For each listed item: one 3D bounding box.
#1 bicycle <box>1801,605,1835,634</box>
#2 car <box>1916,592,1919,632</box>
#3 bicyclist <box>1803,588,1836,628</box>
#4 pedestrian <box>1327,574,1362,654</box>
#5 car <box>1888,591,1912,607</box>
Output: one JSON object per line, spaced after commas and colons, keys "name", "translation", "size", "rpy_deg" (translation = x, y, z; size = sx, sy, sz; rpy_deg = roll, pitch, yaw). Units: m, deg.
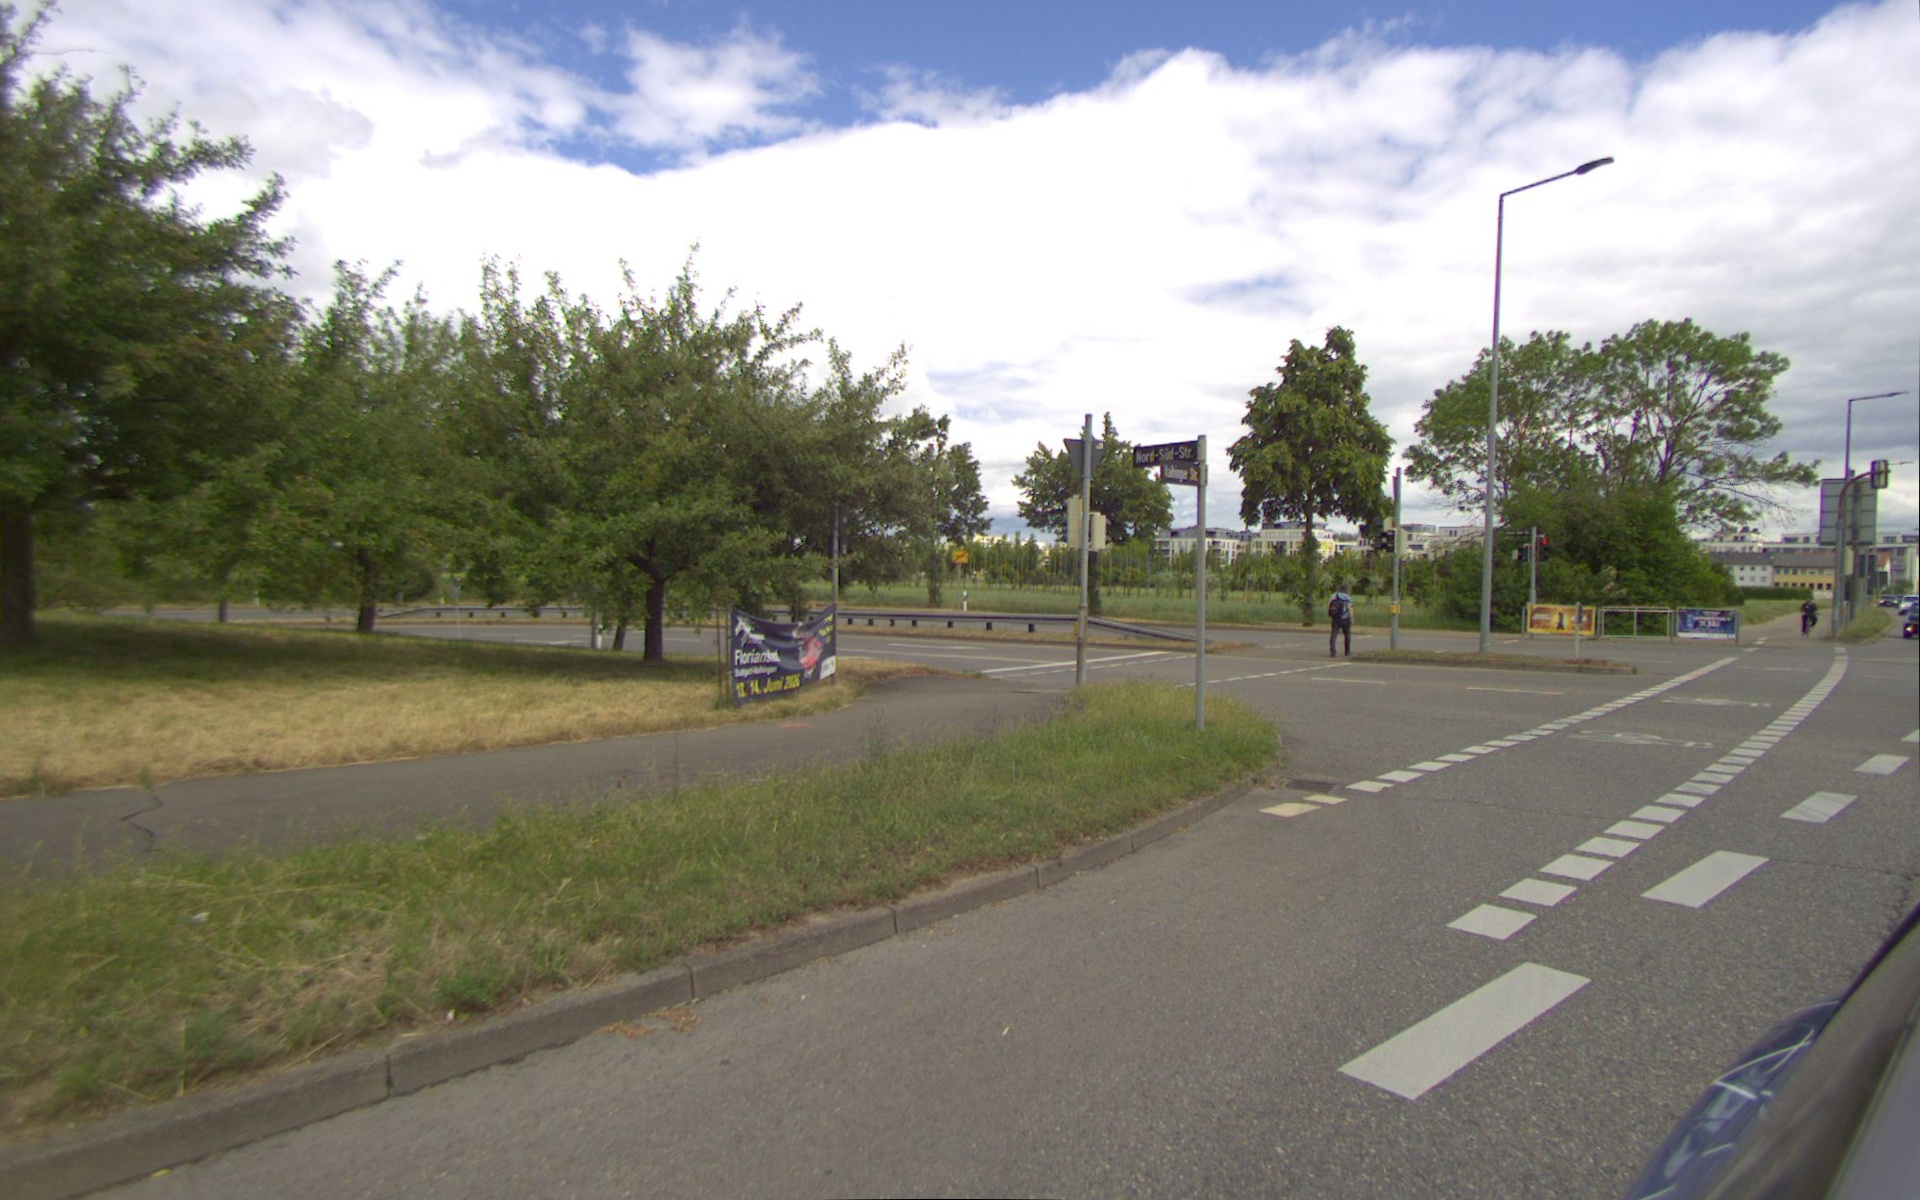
{"name": "bicycle", "translation": [37.851, 0.846, 44.641], "size": [1.014, 1.148, 2.635], "rpy_deg": [3, 2, 42]}
{"name": "car", "translation": [37.174, 0.427, 37.912], "size": [4.295, 1.459, 1.733], "rpy_deg": [0, 1, -43]}
{"name": "bicyclist", "translation": [38.063, 0.337, 44.830], "size": [1.014, 1.729, 1.183], "rpy_deg": [3, 2, 42]}
{"name": "pedestrian", "translation": [9.355, 0.318, 24.647], "size": [0.756, 1.907, 0.795], "rpy_deg": [0, 0, 20]}
{"name": "car", "translation": [106.366, -0.152, 114.593], "size": [1.866, 1.716, 4.306], "rpy_deg": [1, 1, 41]}
